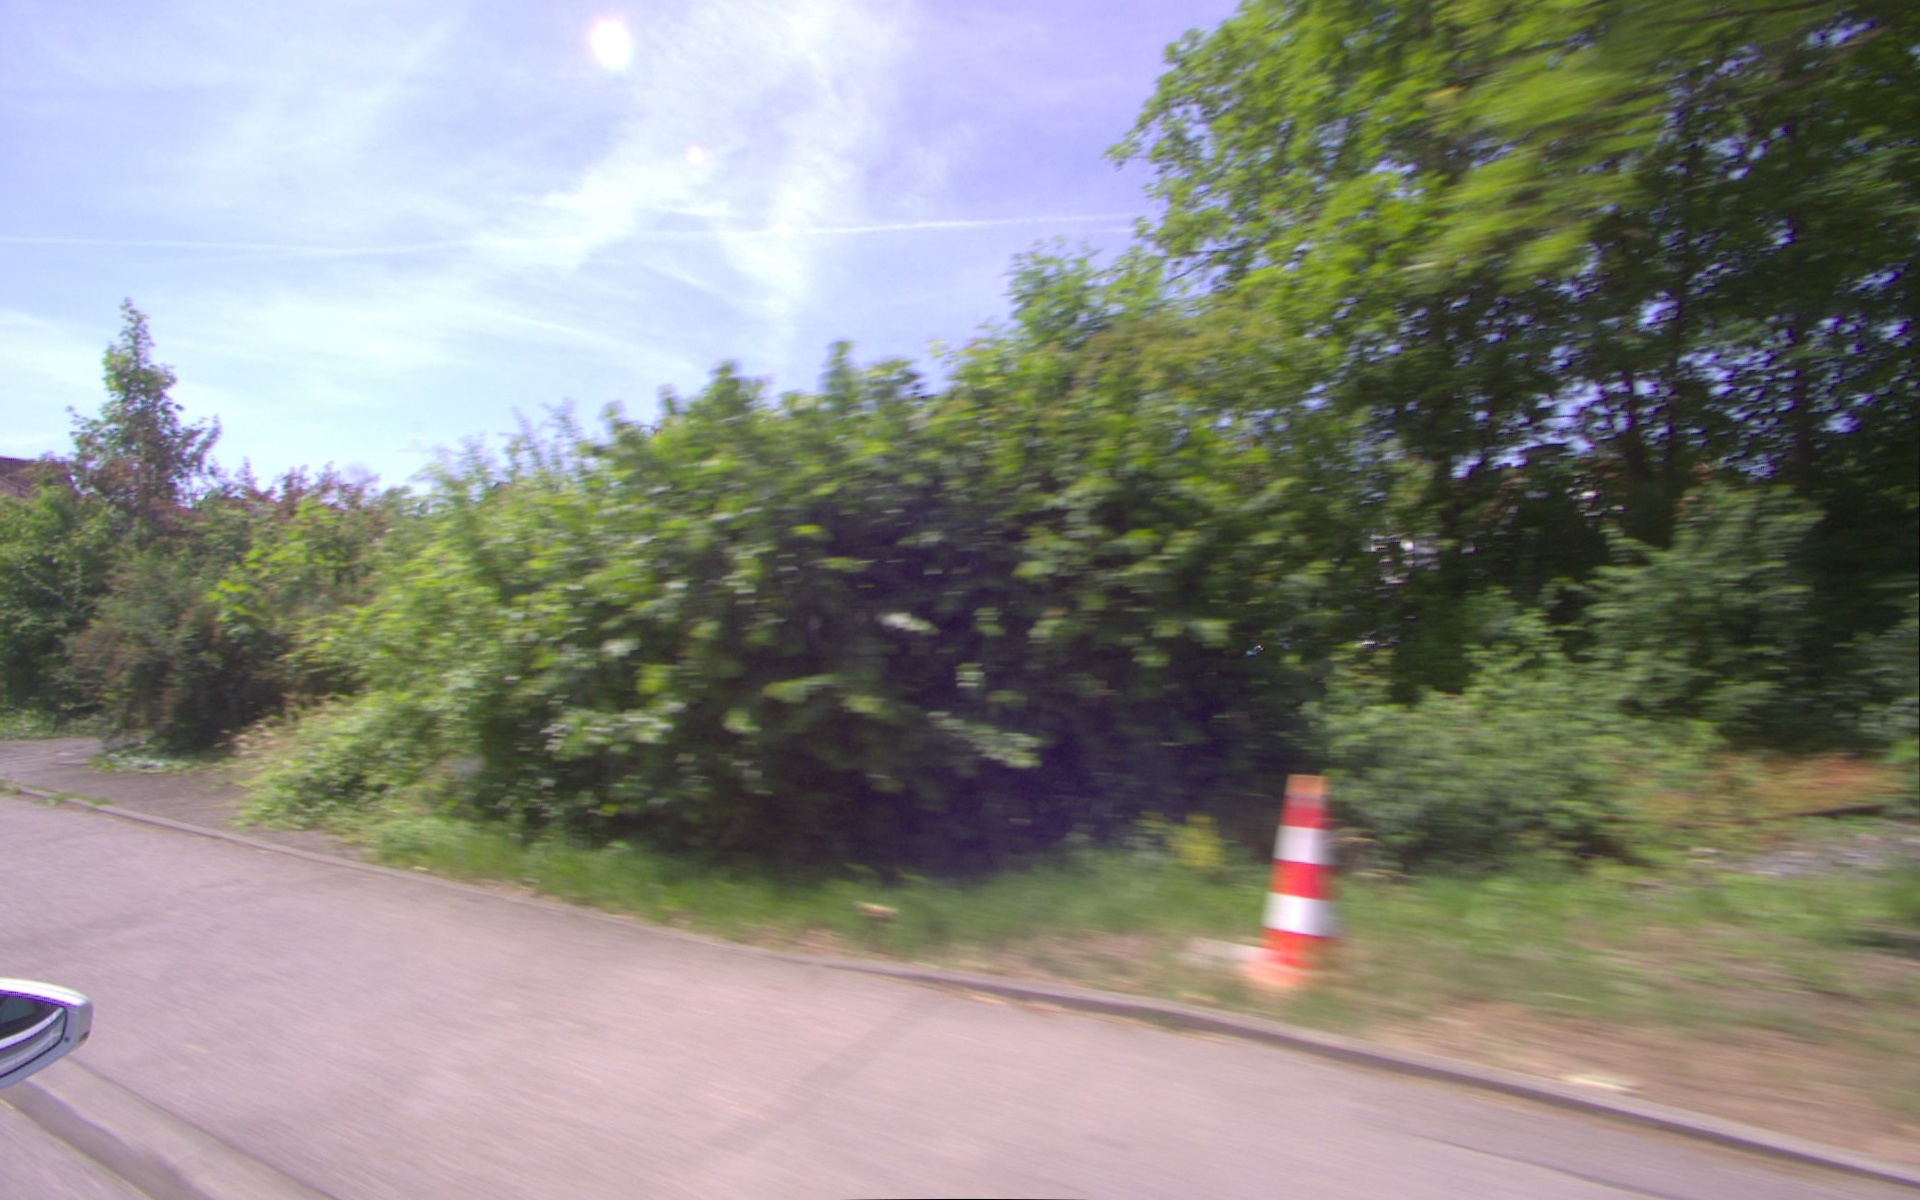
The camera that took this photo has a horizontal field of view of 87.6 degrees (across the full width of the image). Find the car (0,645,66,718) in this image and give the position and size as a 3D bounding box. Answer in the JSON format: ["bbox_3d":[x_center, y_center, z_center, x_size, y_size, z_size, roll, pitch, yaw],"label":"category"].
[{"bbox_3d":[-22.565,1.889,22.646,3.993,1.570,1.714,-3,-4,18],"label":"car"}]
